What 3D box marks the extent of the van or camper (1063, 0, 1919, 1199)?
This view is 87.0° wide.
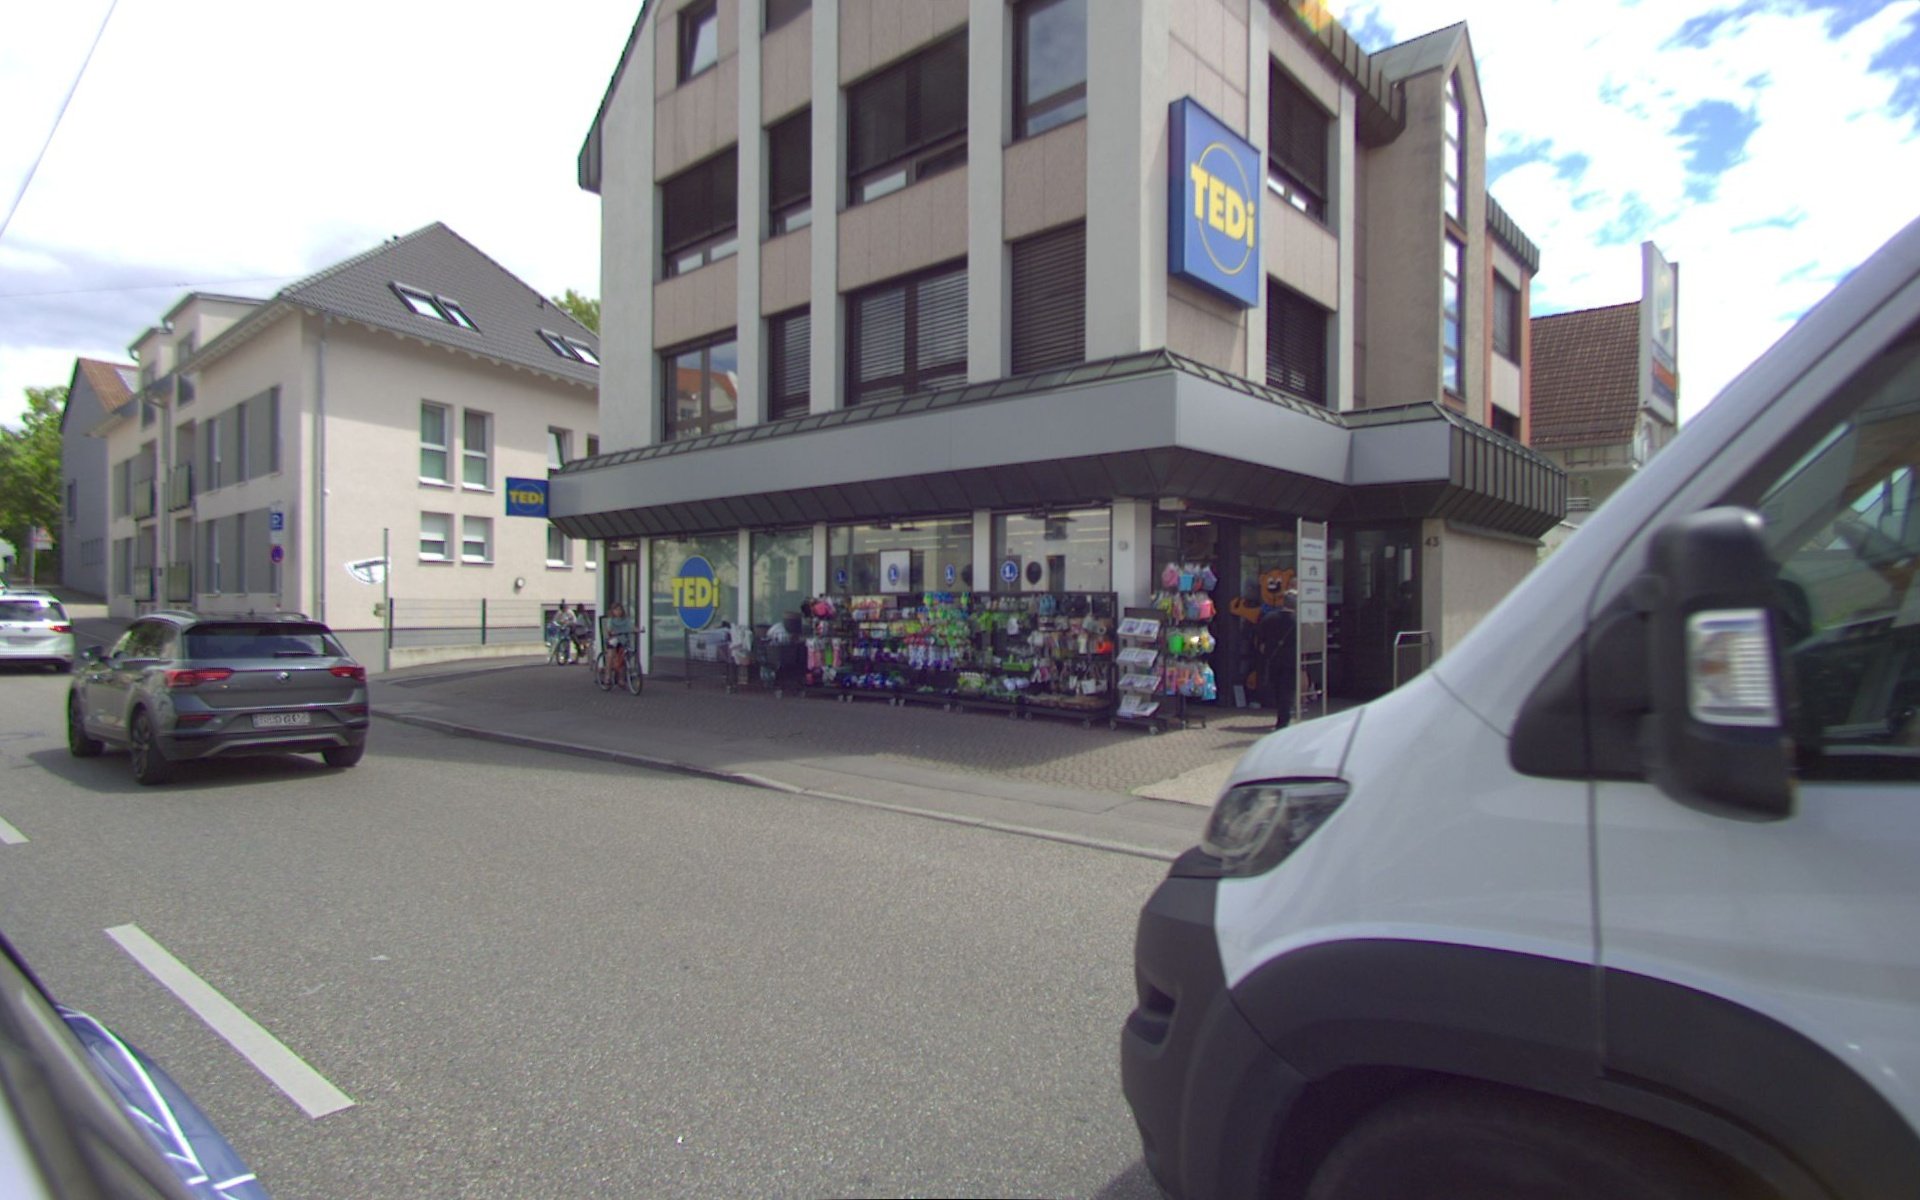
[{"bbox_3d":[2.947,0.071,0.938,5.433,2.576,2.126,-2,-2,40],"label":"van or camper"}]

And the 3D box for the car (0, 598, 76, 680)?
[{"bbox_3d":[-20.496,0.775,21.630,4.116,1.625,1.757,0,-2,40],"label":"car"}]

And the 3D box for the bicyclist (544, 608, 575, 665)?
[{"bbox_3d":[-9.076,0.819,22.945,0.631,1.251,0.428,0,1,-15],"label":"bicyclist"}]

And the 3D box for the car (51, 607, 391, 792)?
[{"bbox_3d":[-7.538,0.855,10.216,3.840,1.522,1.773,0,-2,38],"label":"car"}]

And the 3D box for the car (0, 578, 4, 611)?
[{"bbox_3d":[-46.953,-0.346,48.213,4.066,1.499,1.714,3,1,42],"label":"car"}]

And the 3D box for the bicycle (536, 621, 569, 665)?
[{"bbox_3d":[-9.168,0.956,22.805,0.451,0.924,1.594,-1,0,-13],"label":"bicycle"}]

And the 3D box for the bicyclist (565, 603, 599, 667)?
[{"bbox_3d":[-8.285,0.770,22.217,0.580,1.376,0.425,-2,-1,-3],"label":"bicyclist"}]

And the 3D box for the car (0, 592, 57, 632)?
[{"bbox_3d":[-33.870,0.441,36.420,3.473,1.340,1.643,-1,-2,42],"label":"car"}]

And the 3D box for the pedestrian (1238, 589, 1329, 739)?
[{"bbox_3d":[3.573,0.674,11.202,0.773,1.570,0.565,2,2,45],"label":"pedestrian"}]

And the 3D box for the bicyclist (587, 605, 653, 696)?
[{"bbox_3d":[-5.374,0.769,15.985,0.761,1.347,0.660,1,3,41],"label":"bicyclist"}]

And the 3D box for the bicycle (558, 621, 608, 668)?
[{"bbox_3d":[-8.252,0.960,22.208,0.547,0.961,1.693,-1,0,-4],"label":"bicycle"}]

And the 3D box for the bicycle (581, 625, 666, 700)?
[{"bbox_3d":[-5.356,0.963,16.049,1.734,1.058,0.439,1,4,42],"label":"bicycle"}]
